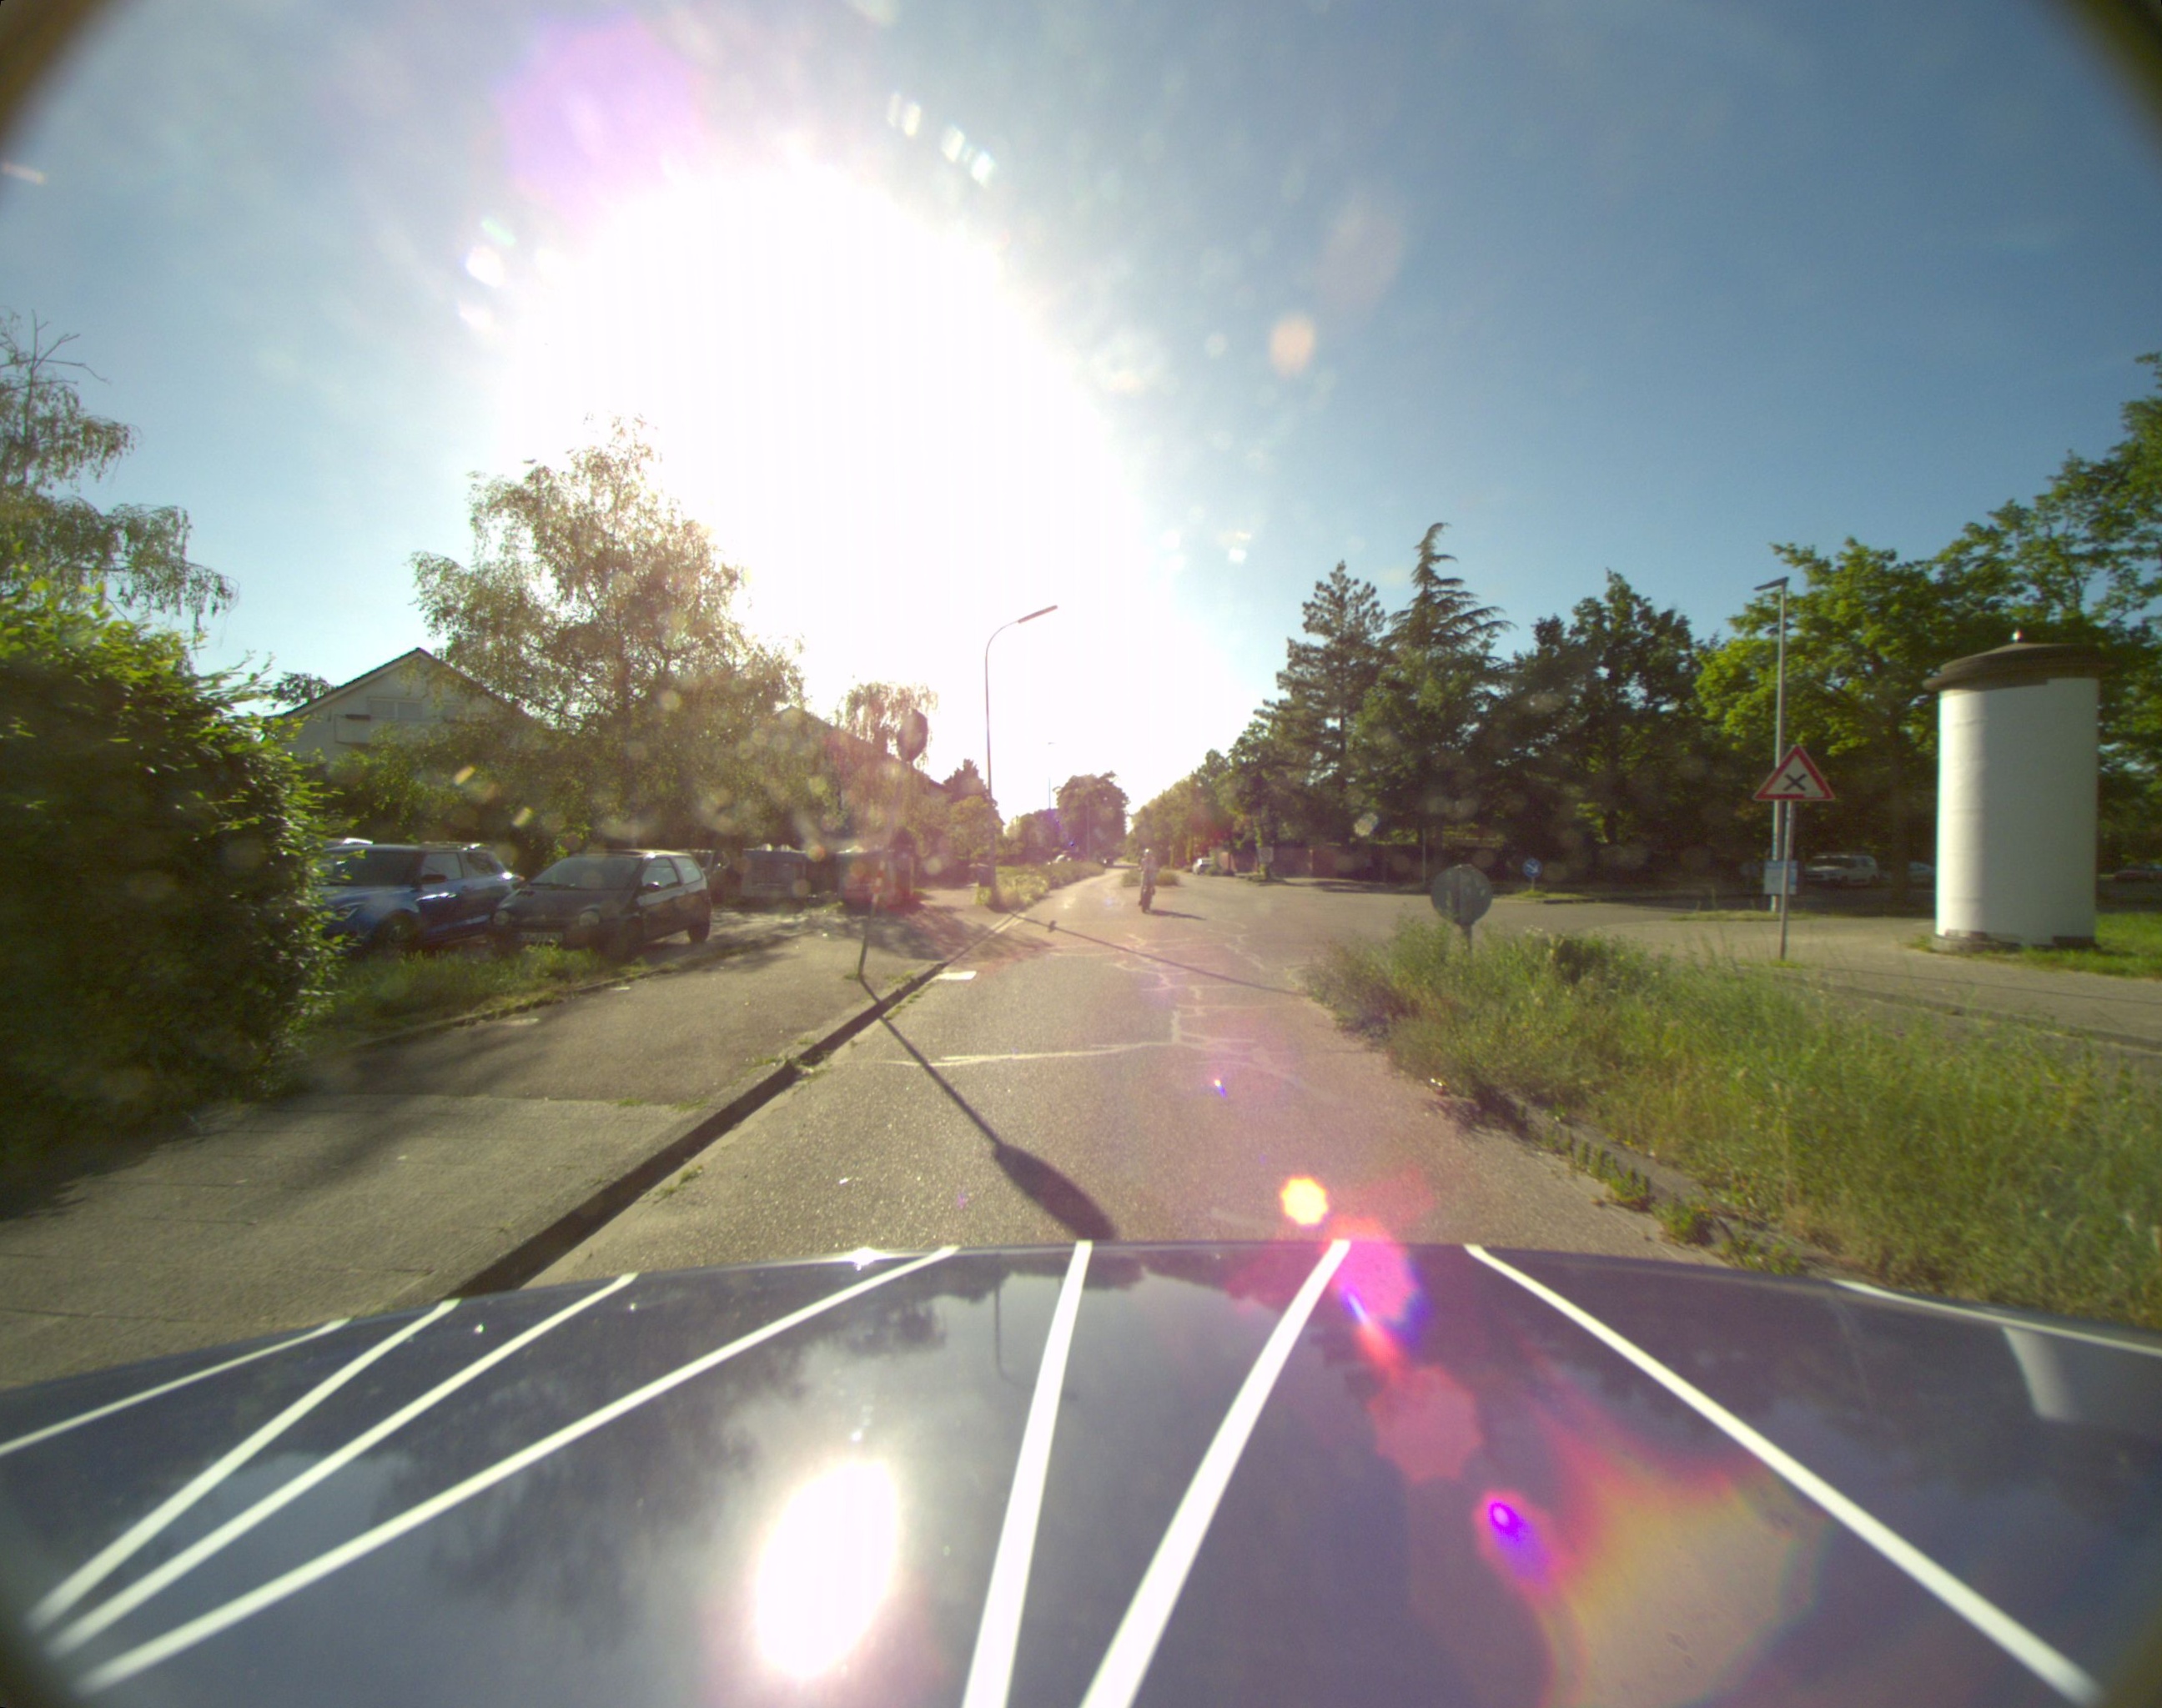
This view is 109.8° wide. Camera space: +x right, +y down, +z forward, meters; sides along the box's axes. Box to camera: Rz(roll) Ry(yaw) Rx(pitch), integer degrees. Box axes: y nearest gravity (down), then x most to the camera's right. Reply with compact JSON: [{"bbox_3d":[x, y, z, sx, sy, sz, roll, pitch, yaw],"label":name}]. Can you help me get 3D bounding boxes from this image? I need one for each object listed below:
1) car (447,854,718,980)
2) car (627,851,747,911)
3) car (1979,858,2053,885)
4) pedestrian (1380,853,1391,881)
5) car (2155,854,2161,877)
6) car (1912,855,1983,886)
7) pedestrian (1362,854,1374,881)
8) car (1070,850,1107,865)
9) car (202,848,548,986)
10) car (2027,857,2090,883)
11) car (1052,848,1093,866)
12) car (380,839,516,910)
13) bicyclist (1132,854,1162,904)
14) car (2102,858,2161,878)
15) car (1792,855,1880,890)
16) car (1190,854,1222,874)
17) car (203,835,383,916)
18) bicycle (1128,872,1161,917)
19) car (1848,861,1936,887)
[{"bbox_3d":[-6.675,0.753,10.669,1.703,1.458,3.532,1,0,-5],"label":"car"},{"bbox_3d":[-10.372,0.682,20.311,1.635,1.430,4.063,0,-1,-9],"label":"car"},{"bbox_3d":[57.117,1.046,46.416,3.757,1.629,1.770,0,0,-22],"label":"car"},{"bbox_3d":[17.102,0.744,42.665,0.396,1.552,0.538,0,2,4],"label":"pedestrian"},{"bbox_3d":[79.014,0.819,54.306,4.095,1.643,1.499,0,0,-19],"label":"car"},{"bbox_3d":[50.035,0.921,43.871,3.806,1.744,1.498,0,0,-22],"label":"car"},{"bbox_3d":[16.287,0.765,43.095,0.539,1.512,0.395,-1,1,-23],"label":"pedestrian"},{"bbox_3d":[0.781,0.359,77.882,3.398,1.433,1.613,-1,1,-21],"label":"car"},{"bbox_3d":[-9.095,0.690,10.266,1.651,1.488,3.688,1,1,-10],"label":"car"},{"bbox_3d":[62.522,1.021,48.606,3.757,1.629,1.498,0,0,-22],"label":"car"},{"bbox_3d":[-0.867,0.300,74.430,3.657,1.707,1.744,-1,1,-34],"label":"car"},{"bbox_3d":[-15.939,0.505,19.377,1.794,1.593,4.057,2,-1,-27],"label":"car"},{"bbox_3d":[1.833,0.681,21.004,0.637,1.339,0.839,0,1,18],"label":"bicyclist"},{"bbox_3d":[72.768,0.986,52.606,3.470,1.351,1.499,0,0,-19],"label":"car"},{"bbox_3d":[39.717,0.933,39.954,4.640,1.739,1.752,0,0,-24],"label":"car"},{"bbox_3d":[10.969,0.838,66.916,1.999,1.649,3.998,0,1,-4],"label":"car"},{"bbox_3d":[-18.702,0.499,18.285,1.794,1.696,4.108,2,-1,-28],"label":"car"},{"bbox_3d":[1.771,1.087,20.840,0.457,1.138,1.901,1,0,18],"label":"bicycle"},{"bbox_3d":[45.119,1.103,42.267,4.619,1.435,1.721,0,-2,-22],"label":"car"}]
